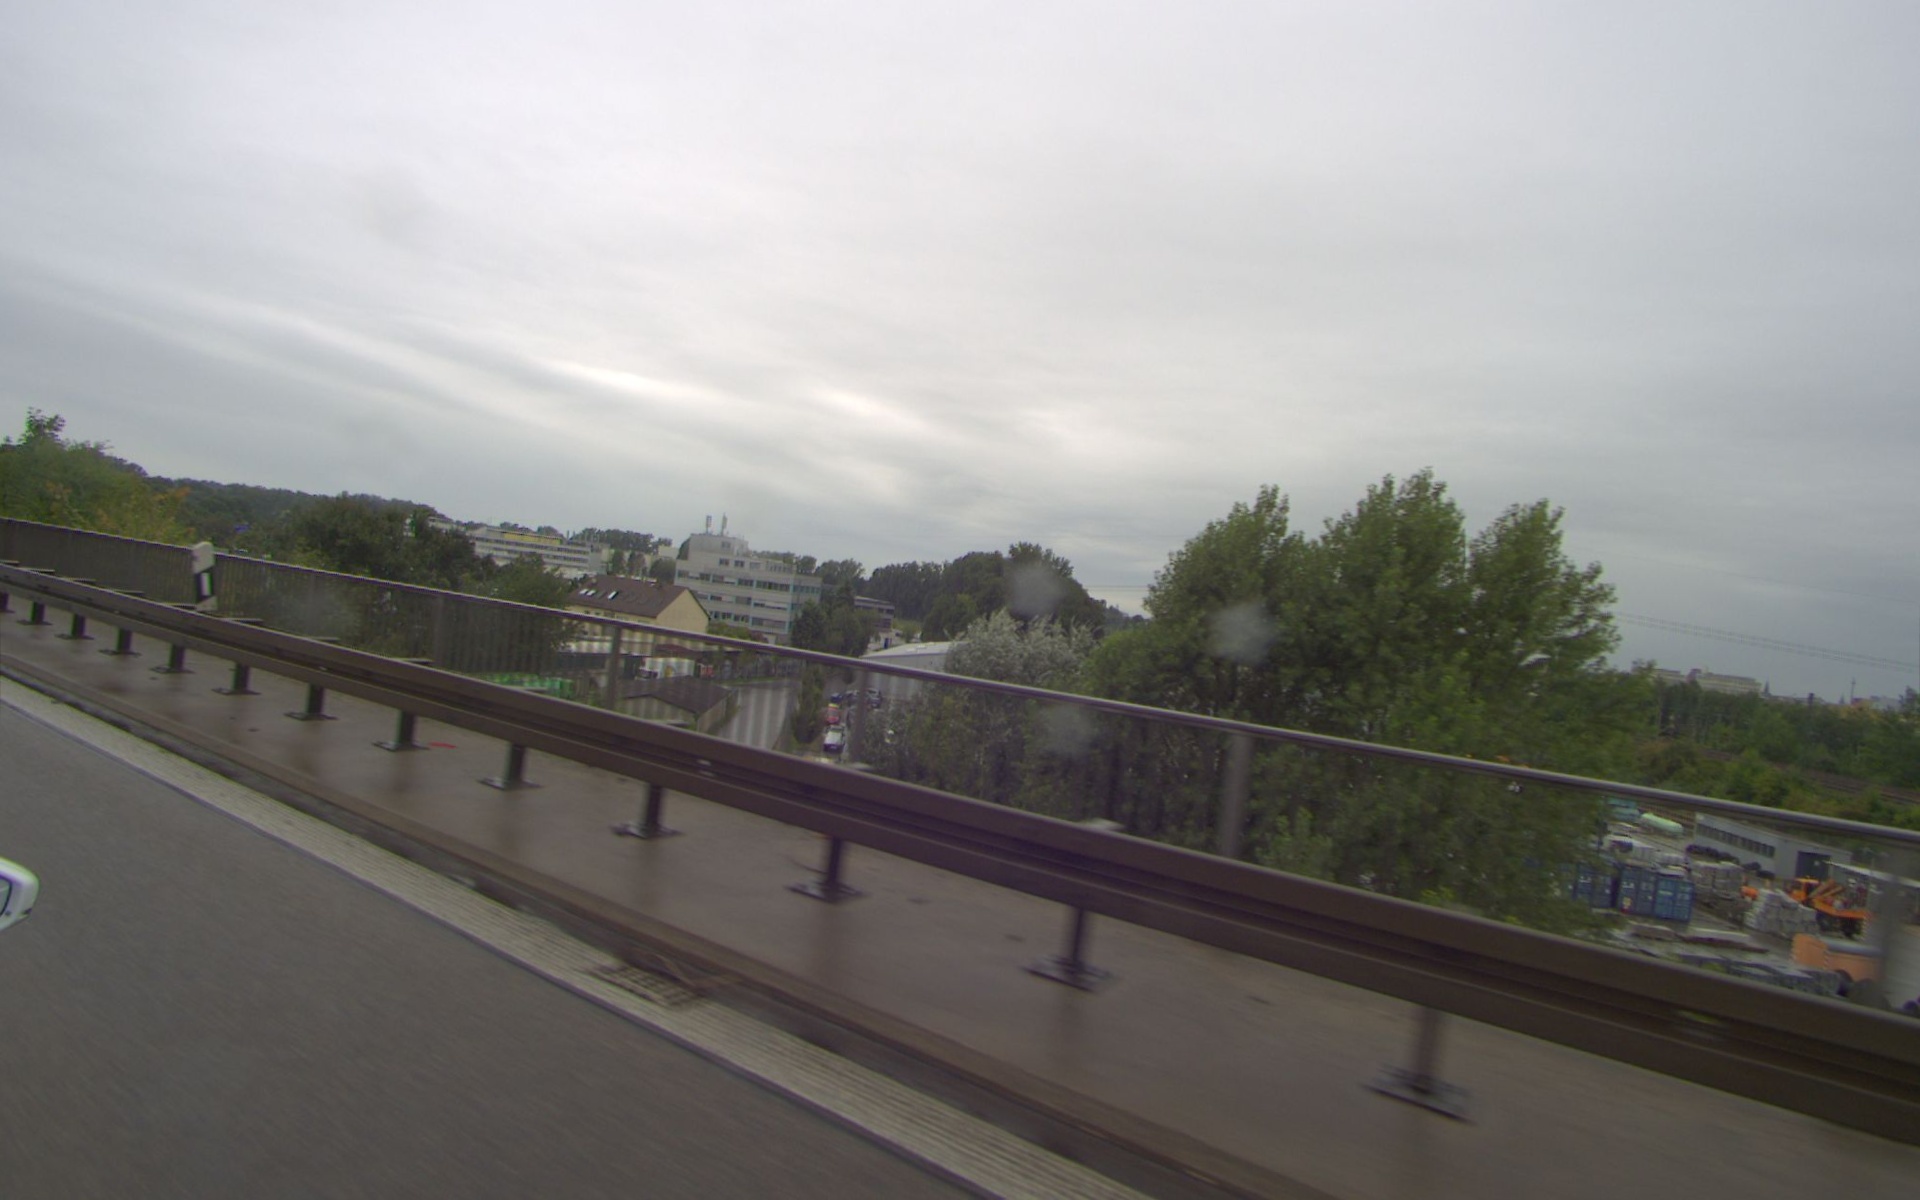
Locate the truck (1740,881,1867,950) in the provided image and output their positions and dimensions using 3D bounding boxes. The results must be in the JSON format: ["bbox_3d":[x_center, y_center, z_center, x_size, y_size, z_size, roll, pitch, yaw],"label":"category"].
[{"bbox_3d":[56.290,21.060,67.194,6.468,3.221,2.106,7,-1,-1],"label":"truck"}]

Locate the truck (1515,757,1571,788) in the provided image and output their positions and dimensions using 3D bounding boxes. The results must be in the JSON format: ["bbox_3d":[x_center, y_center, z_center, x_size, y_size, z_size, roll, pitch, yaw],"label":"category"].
[{"bbox_3d":[76.950,22.780,132.841,6.485,3.221,2.100,8,-1,-14],"label":"truck"}]

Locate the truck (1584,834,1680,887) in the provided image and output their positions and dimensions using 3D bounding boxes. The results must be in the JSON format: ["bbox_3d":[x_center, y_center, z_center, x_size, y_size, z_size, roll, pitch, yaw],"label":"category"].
[{"bbox_3d":[57.091,22.170,85.564,6.468,3.221,2.106,7,-1,-1],"label":"truck"}]

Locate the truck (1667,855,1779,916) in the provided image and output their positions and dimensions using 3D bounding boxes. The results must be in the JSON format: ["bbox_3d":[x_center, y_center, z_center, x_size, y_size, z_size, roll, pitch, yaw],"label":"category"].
[{"bbox_3d":[56.674,21.207,74.813,6.468,3.221,2.106,7,-1,-1],"label":"truck"}]
